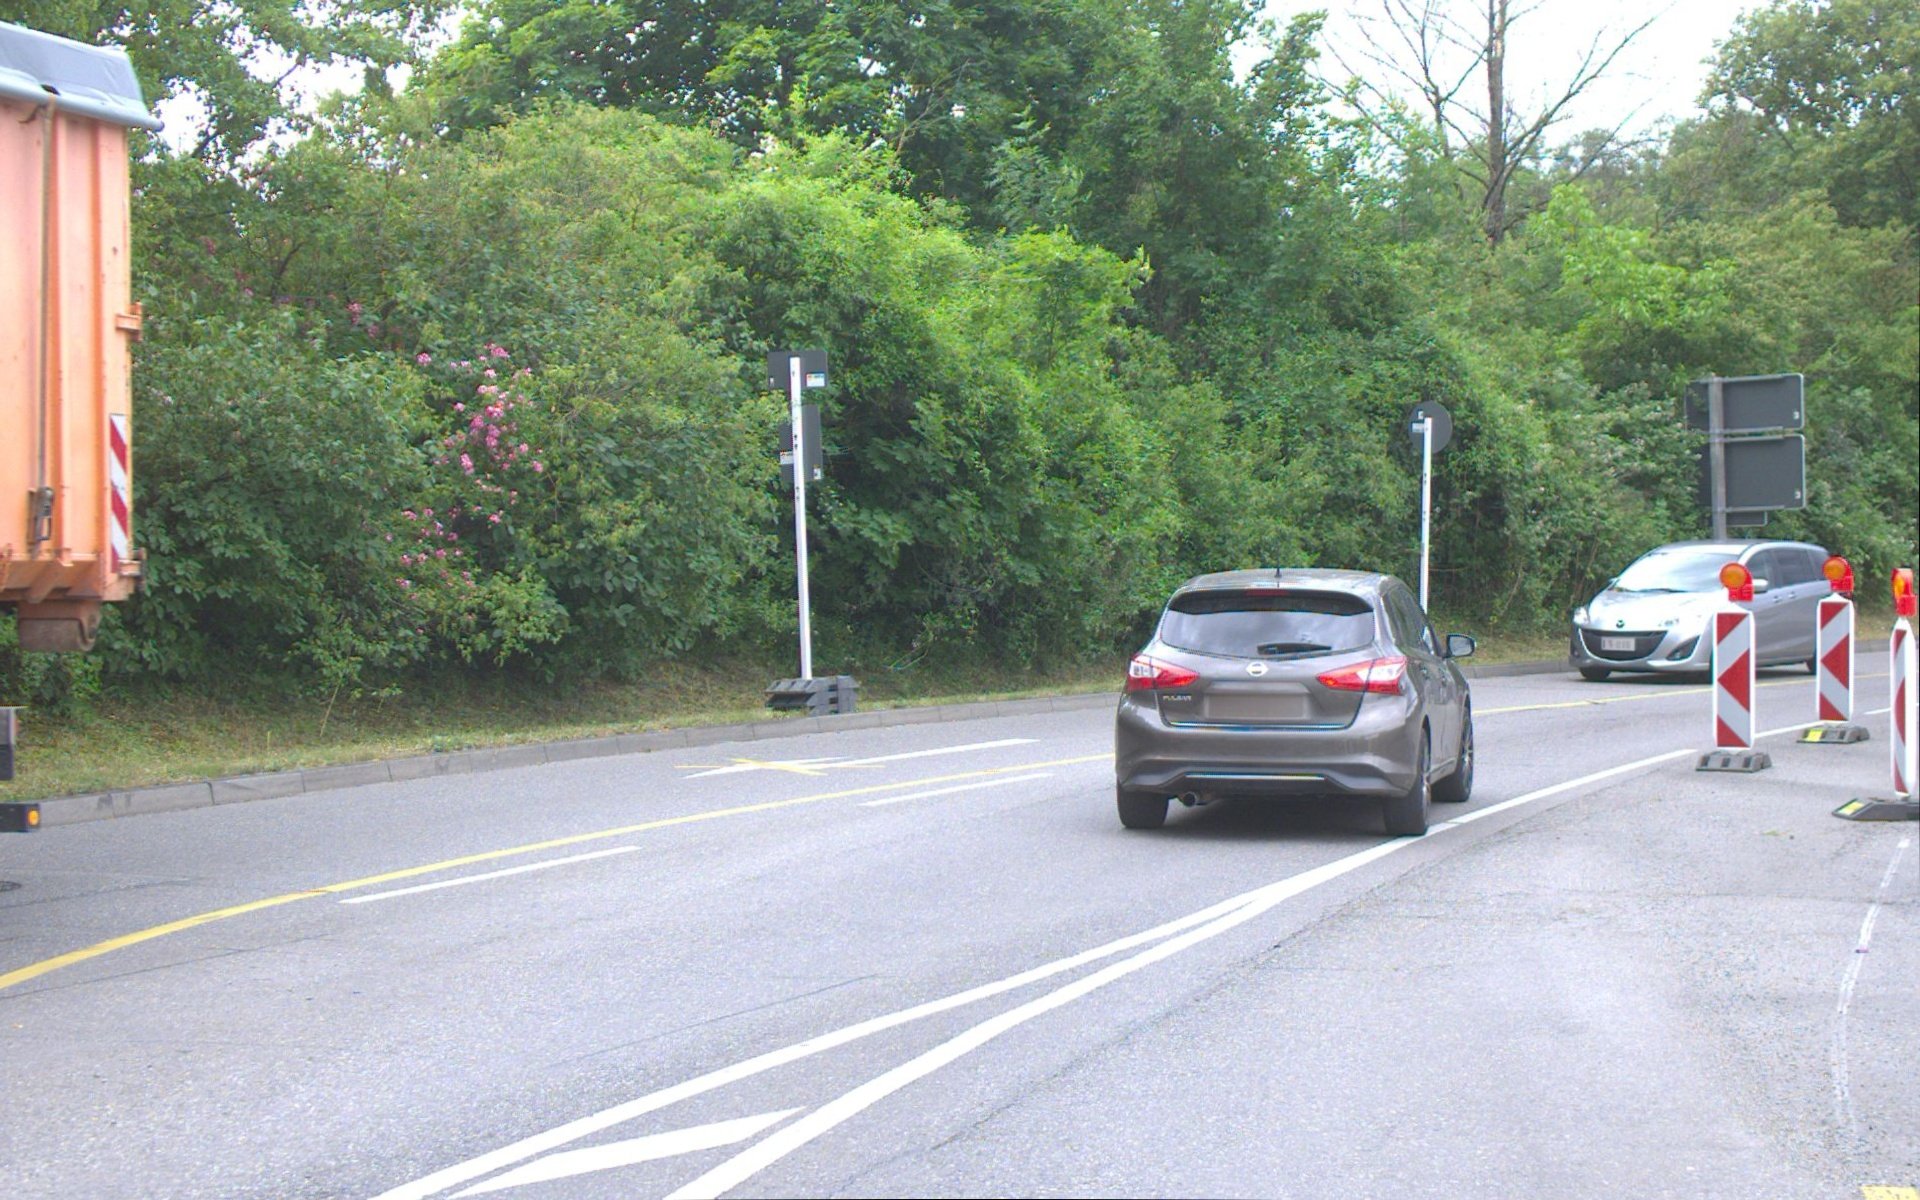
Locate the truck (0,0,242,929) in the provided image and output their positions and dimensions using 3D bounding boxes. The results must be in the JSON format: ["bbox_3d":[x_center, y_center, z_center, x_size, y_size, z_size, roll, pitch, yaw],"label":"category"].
[{"bbox_3d":[-6.272,-0.720,11.654,3.113,4.206,9.785,-1,0,17],"label":"truck"}]

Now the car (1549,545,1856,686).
[{"bbox_3d":[8.608,0.168,39.607,1.636,1.539,4.341,0,0,40],"label":"car"}]

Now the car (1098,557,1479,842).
[{"bbox_3d":[2.103,0.519,21.019,1.799,1.547,3.998,0,1,13],"label":"car"}]
